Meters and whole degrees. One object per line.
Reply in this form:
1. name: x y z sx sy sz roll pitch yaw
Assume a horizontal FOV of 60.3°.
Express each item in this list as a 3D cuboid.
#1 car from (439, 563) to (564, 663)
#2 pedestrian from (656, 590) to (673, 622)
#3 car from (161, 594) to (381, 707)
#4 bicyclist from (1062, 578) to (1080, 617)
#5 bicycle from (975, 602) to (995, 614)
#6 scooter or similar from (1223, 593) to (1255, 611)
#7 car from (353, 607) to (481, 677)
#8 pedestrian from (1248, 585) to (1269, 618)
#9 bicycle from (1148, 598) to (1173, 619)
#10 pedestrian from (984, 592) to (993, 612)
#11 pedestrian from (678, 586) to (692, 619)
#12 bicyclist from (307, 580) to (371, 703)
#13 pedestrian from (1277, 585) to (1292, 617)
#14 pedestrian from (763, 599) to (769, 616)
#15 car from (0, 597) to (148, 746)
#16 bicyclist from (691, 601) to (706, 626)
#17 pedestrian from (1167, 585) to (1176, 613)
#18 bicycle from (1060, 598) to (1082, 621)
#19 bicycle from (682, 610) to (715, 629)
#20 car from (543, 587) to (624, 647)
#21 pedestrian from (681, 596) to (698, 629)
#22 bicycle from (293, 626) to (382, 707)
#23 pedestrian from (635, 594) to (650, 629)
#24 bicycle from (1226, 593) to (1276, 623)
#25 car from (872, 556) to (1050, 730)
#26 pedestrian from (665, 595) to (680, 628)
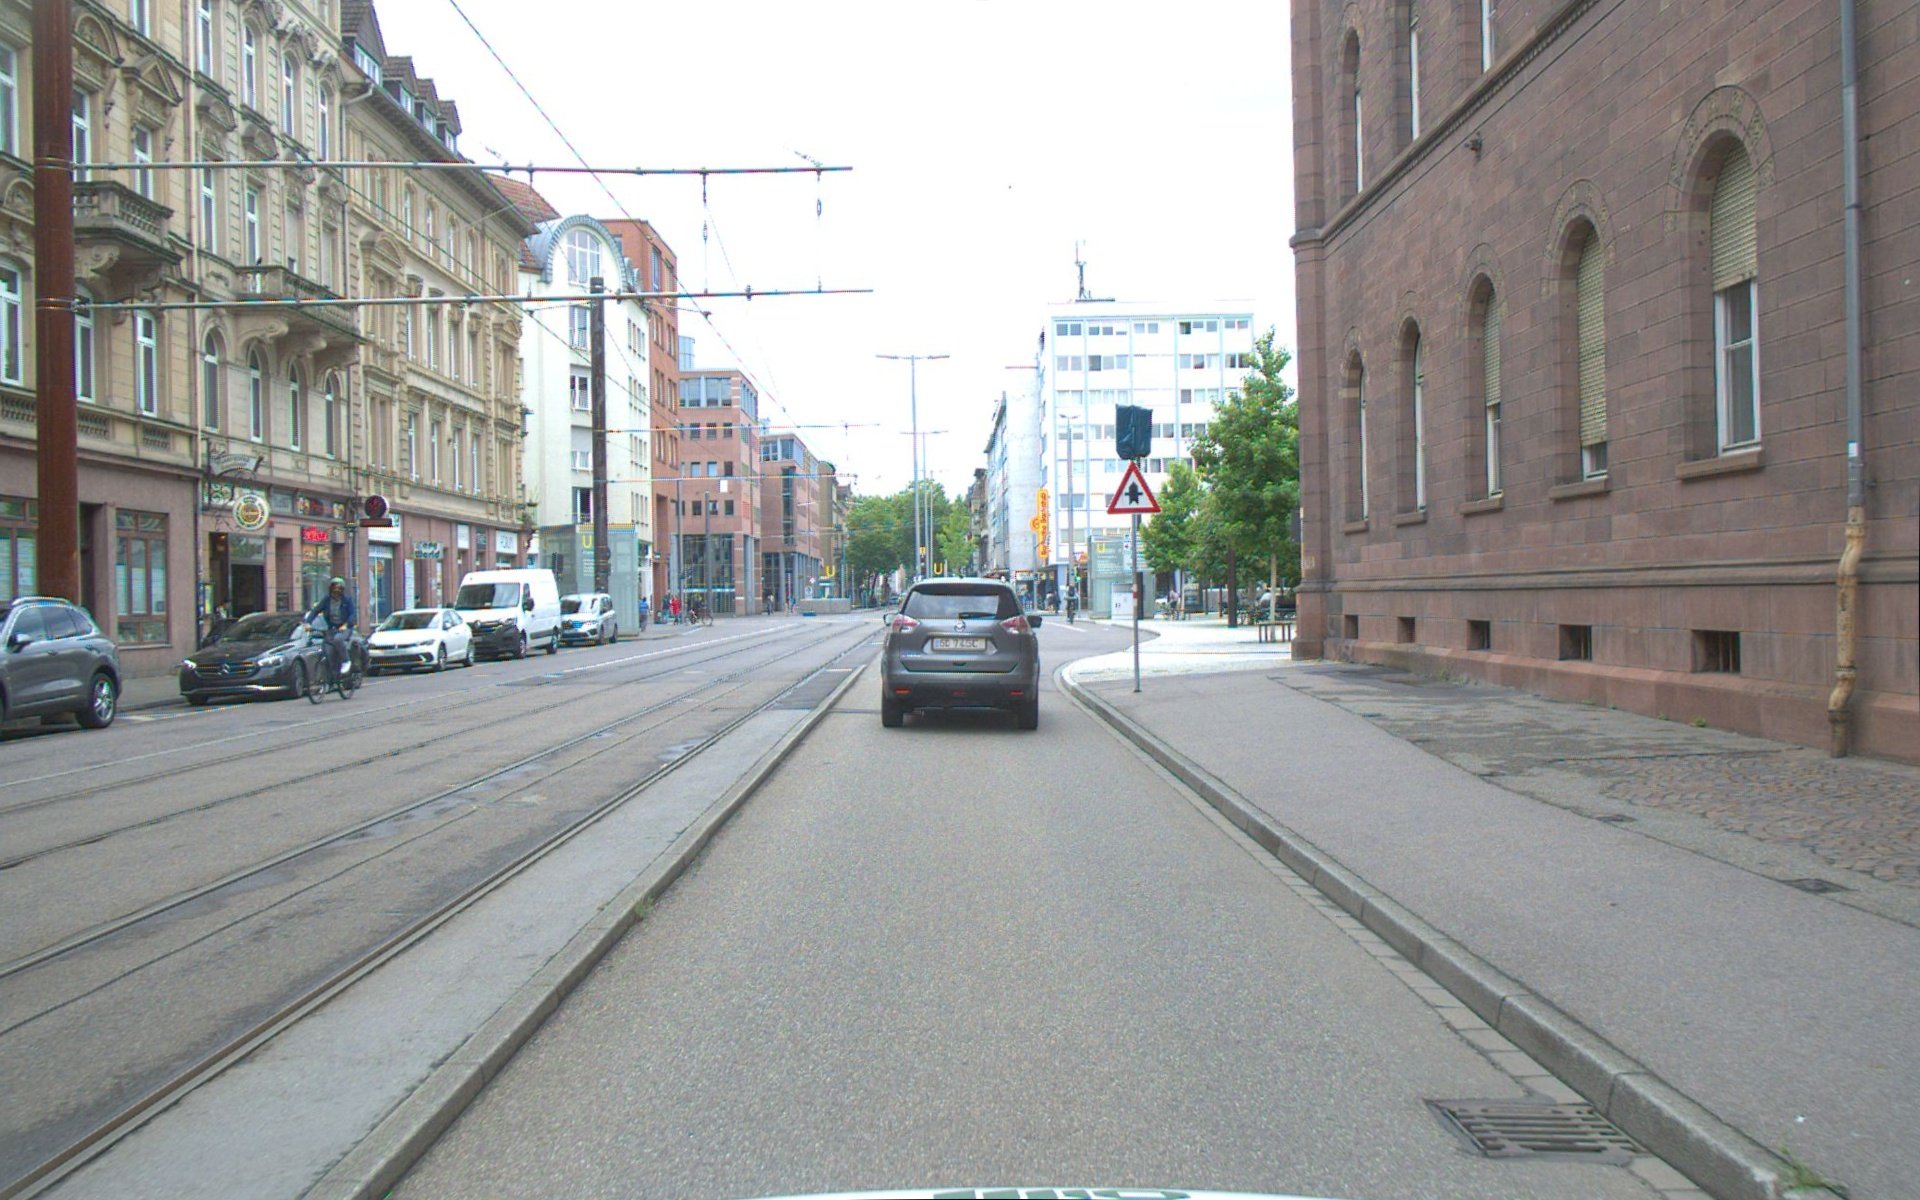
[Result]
1. car: -12.864 0.338 46.838 2.012 2.530 5.663 -3 0 -2
2. pedestrian: -16.398 0.348 91.774 0.854 1.716 0.659 -1 -2 -16
3. car: -12.062 0.818 29.363 1.881 1.718 5.050 -3 0 -3
4. bicyclist: 5.292 -0.124 78.816 0.817 1.844 0.878 0 0 1
5. bicycle: 2.133 0.689 141.896 1.660 1.084 0.437 0 0 5
6. scooter or similar: 15.630 0.115 92.756 1.561 0.965 0.722 -3 -1 37
7. car: -12.723 0.936 38.994 1.736 1.447 4.163 -3 0 -3
8. pedestrian: 12.952 0.069 71.773 0.618 1.390 0.684 0 0 -20
9. bicycle: 9.944 0.434 81.941 0.645 0.995 1.752 -2 0 27
10. pedestrian: 2.428 0.171 141.654 0.718 1.776 0.662 0 0 -9
11. pedestrian: -14.755 0.134 88.693 0.649 1.716 0.720 -1 -2 -14
12. bicyclist: -9.918 0.649 26.436 0.632 1.916 1.028 0 0 0
13. pedestrian: 14.142 0.036 72.049 0.531 1.390 1.281 0 0 16
14. pedestrian: -17.692 0.669 151.033 0.442 1.559 0.519 0 0 -19
15. car: -12.155 0.869 20.645 1.777 1.719 5.027 -2 0 -4
16. bicyclist: -15.114 0.758 95.510 0.794 1.431 0.479 -2 0 -8
17. pedestrian: 11.745 -0.051 91.885 0.424 1.583 0.499 0 0 -1
18. bicycle: 5.290 0.473 78.921 0.883 1.063 3.278 -1 0 1
19. bicycle: -15.104 1.136 95.515 1.870 1.039 0.480 -2 0 -9
20. car: -12.977 0.574 57.198 1.865 1.897 4.518 -3 0 -3
21. pedestrian: -16.062 0.754 98.307 0.879 1.923 0.798 0 -1 -3
22. bicycle: -9.930 1.036 26.456 0.573 1.194 2.045 -3 0 0
23. pedestrian: -15.677 0.569 81.697 0.648 1.716 0.721 -1 -2 -10
24. bicycle: 11.282 0.304 64.168 1.873 1.142 0.646 0 0 10
25. car: -0.105 0.442 20.084 1.826 1.805 4.564 2 0 -4
26. pedestrian: -15.444 0.633 88.872 0.708 1.716 0.660 -1 -2 -12
